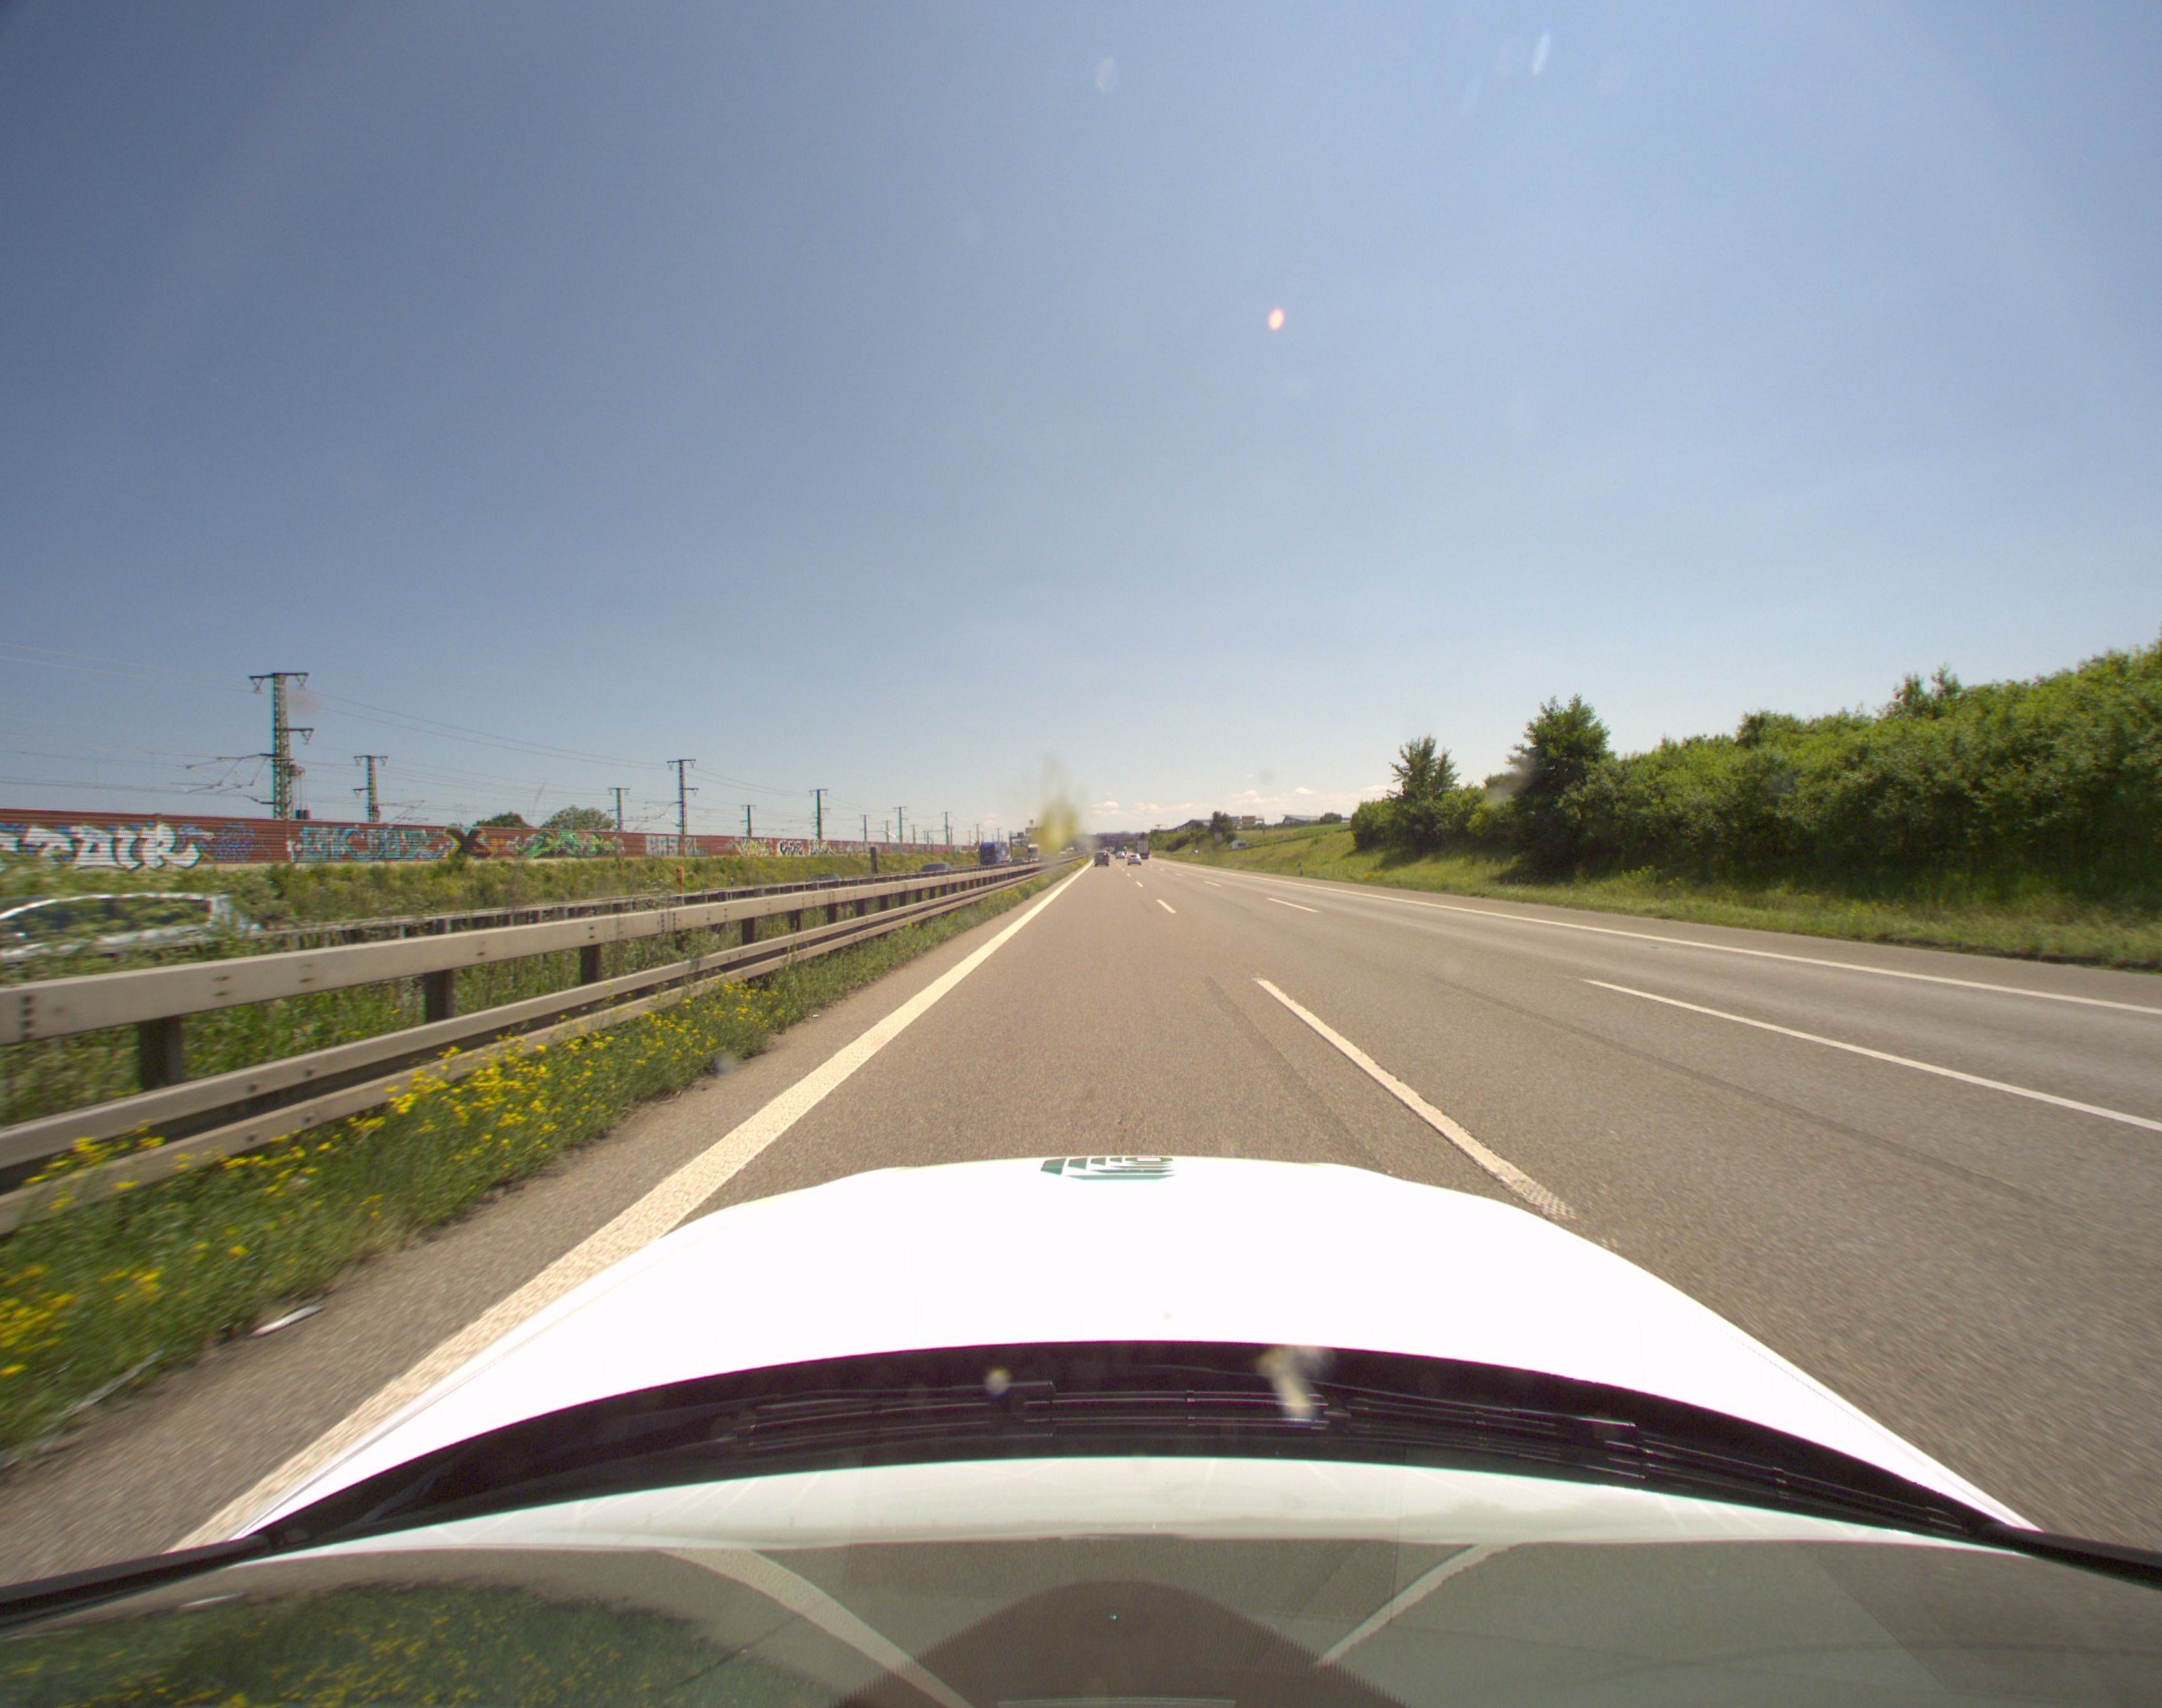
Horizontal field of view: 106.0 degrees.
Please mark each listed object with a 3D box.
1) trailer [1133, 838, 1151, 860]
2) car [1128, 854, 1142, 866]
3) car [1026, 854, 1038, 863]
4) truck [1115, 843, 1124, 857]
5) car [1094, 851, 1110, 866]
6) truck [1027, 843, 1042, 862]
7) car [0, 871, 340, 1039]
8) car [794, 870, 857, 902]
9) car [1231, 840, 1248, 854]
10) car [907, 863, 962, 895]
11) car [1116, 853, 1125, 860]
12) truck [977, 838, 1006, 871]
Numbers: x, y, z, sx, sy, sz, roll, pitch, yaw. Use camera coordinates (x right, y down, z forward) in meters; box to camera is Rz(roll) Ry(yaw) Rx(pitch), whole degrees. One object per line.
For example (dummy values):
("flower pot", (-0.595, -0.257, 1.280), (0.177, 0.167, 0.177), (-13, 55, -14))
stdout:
("trailer", (12.363, -1.017, 165.535), (3.165, 4.059, 9.443), (-2, 0, 2))
("car", (7.107, 0.795, 106.997), (1.872, 1.526, 4.005), (-1, 0, 4))
("car", (-9.114, 0.850, 151.617), (1.986, 1.648, 4.002), (-1, 0, 2))
("truck", (10.278, -1.100, 216.473), (2.346, 3.416, 6.060), (-1, 0, 2))
("car", (2.634, 0.604, 100.780), (1.874, 1.775, 4.001), (-2, -1, 2))
("truck", (-10.791, -0.348, 189.523), (2.719, 4.072, 6.384), (-3, 0, 2))
("car", (-12.359, 1.145, 10.301), (1.986, 1.695, 4.190), (-2, 0, 2))
("car", (-13.842, 1.690, 44.299), (1.986, 1.487, 3.933), (-3, -1, 2))
("car", (29.431, -1.369, 151.248), (2.267, 2.528, 5.400), (-1, 0, 1))
("car", (-7.833, 1.303, 43.930), (1.986, 1.487, 4.156), (-3, -1, 2))
("car", (8.345, 0.523, 173.282), (1.873, 1.526, 4.003), (-1, 0, 3))
("truck", (-12.913, 0.035, 117.751), (2.877, 4.407, 7.506), (-3, 0, 2))
